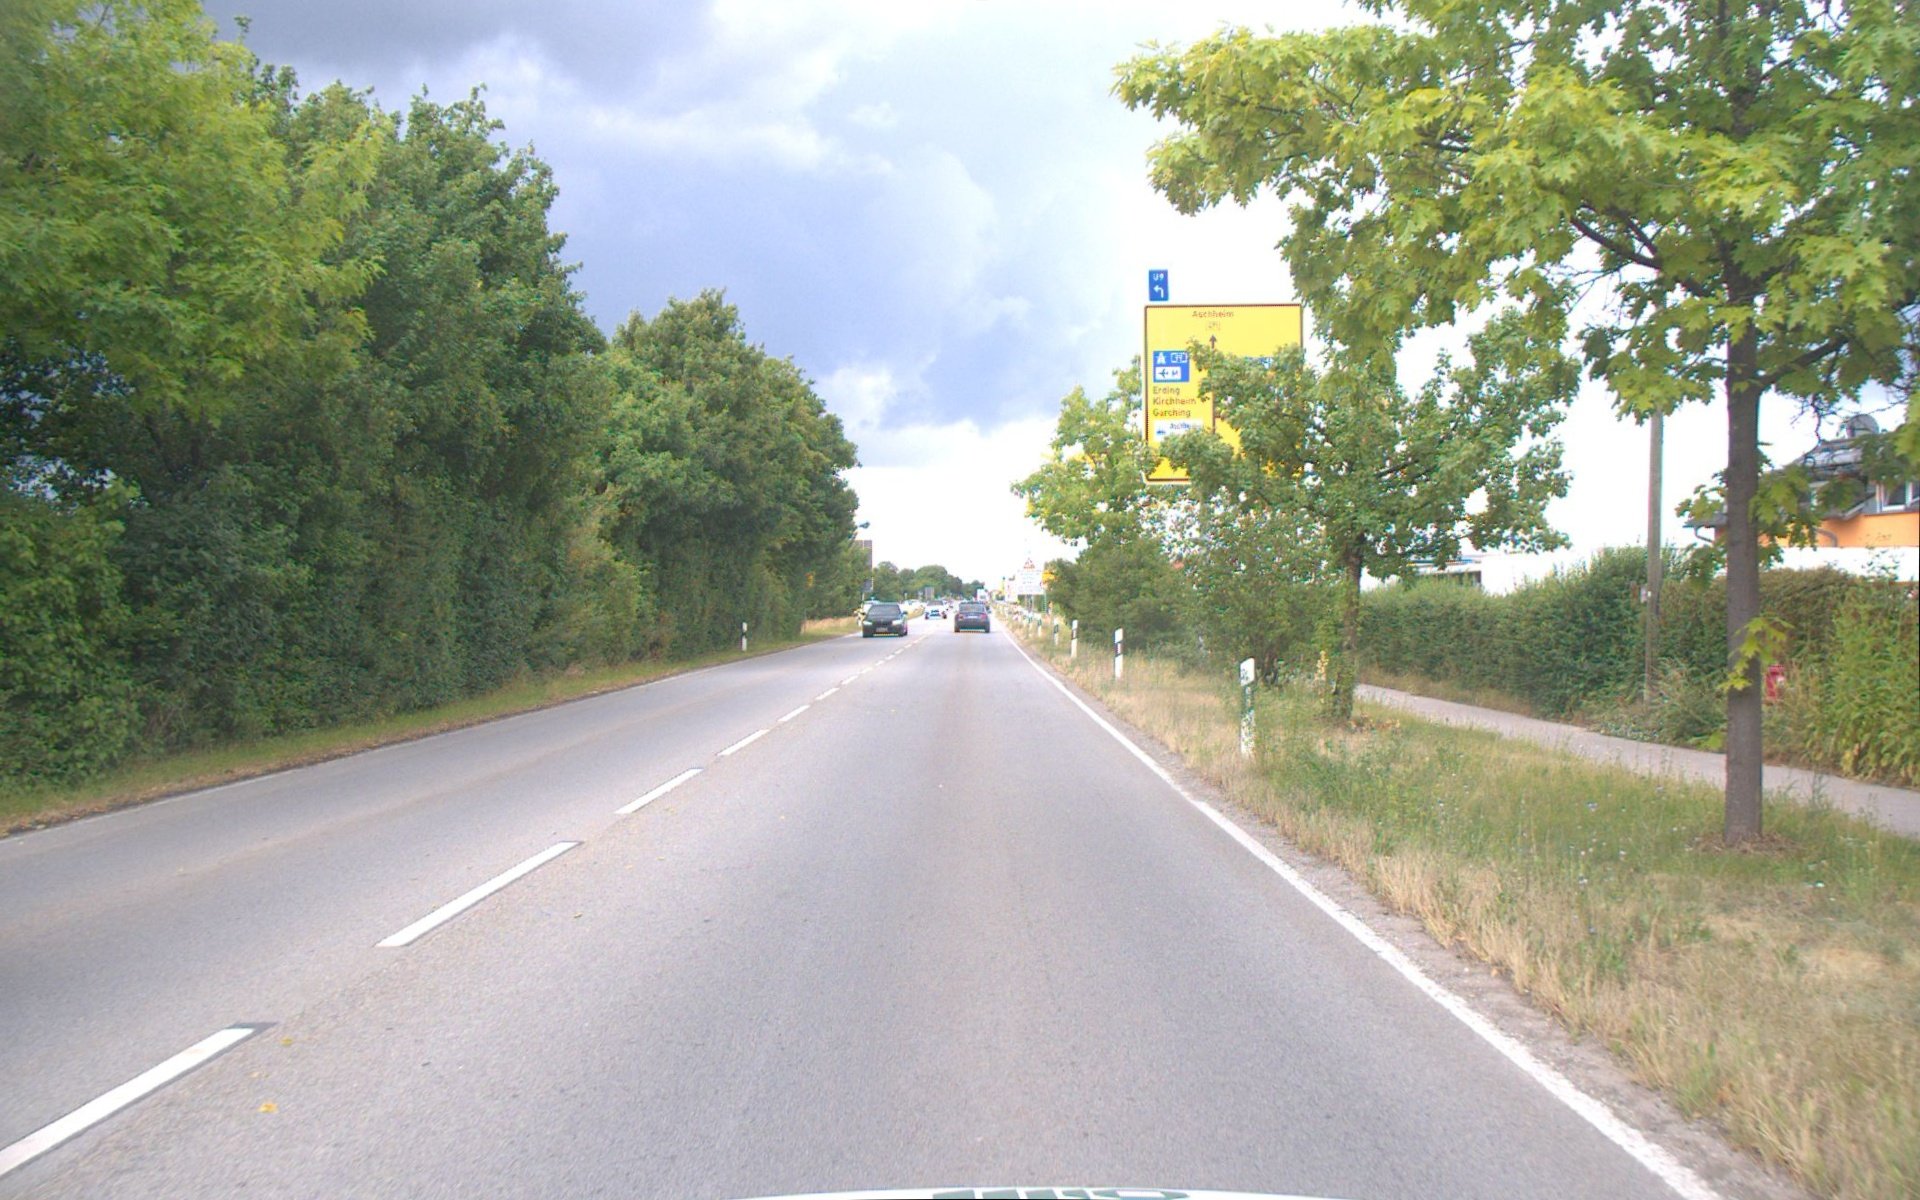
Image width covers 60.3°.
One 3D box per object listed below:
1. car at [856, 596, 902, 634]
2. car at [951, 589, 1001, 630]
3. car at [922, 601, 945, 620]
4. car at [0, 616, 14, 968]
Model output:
[{"bbox_3d":[-3.596,0.663,74.276,1.901,1.614,4.554,-2,0,-2],"label":"car"},{"bbox_3d":[0.782,0.486,83.949,2.324,1.913,4.476,-2,0,-2],"label":"car"},{"bbox_3d":[-2.422,0.947,151.008,1.952,1.713,4.810,-1,0,1],"label":"car"},{"bbox_3d":[-4.887,0.821,4.623,1.953,1.444,4.476,-2,0,-2],"label":"car"}]
